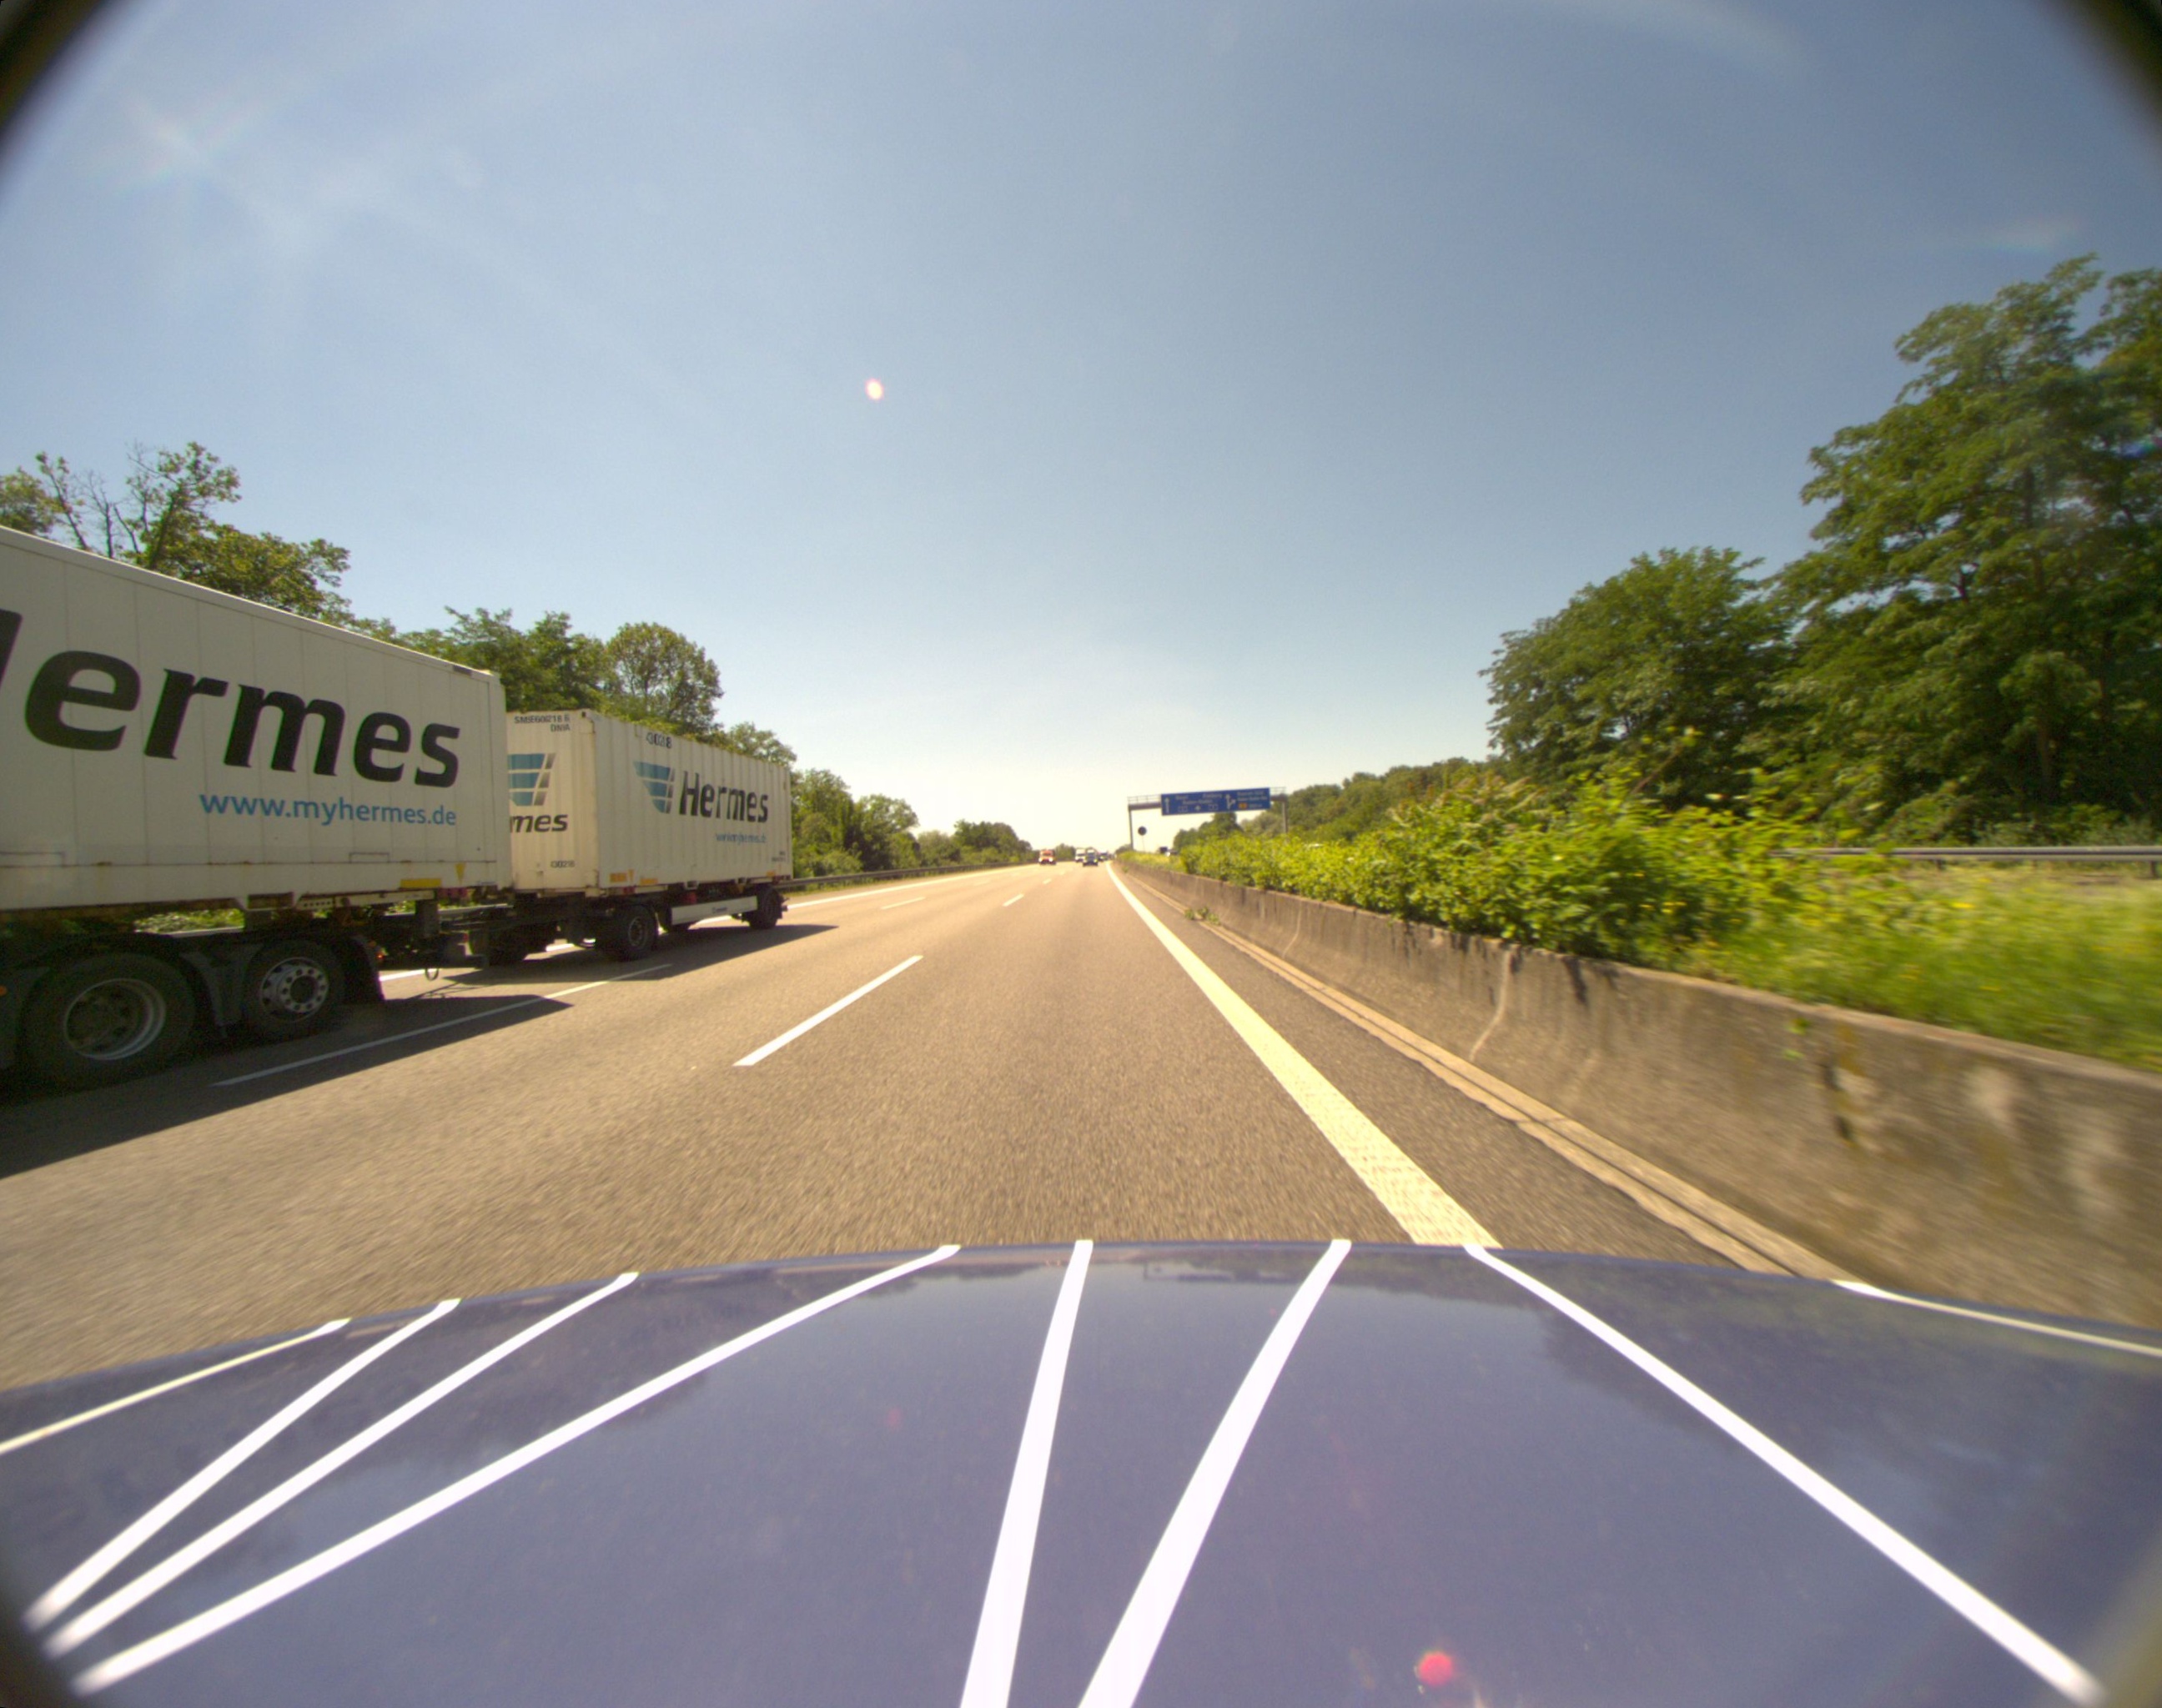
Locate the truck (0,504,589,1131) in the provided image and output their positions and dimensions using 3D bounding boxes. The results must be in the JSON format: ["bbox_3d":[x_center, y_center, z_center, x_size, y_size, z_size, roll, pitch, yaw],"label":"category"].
[{"bbox_3d":[-8.334,-0.215,5.308,2.533,4.106,10.668,-2,0,1],"label":"truck"}]

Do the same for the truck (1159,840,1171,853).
[{"bbox_3d":[28.873,-2.411,261.868,3.185,4.206,14.498,-2,0,3],"label":"truck"}]

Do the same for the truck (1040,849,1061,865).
[{"bbox_3d":[-4.940,0.437,125.300,2.436,2.426,10.010,-2,0,3],"label":"truck"}]

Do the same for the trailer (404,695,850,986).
[{"bbox_3d":[-8.159,-0.225,16.421,2.561,4.036,11.262,-2,0,1],"label":"trailer"}]

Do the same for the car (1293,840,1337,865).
[{"bbox_3d":[17.196,-0.119,56.027,1.818,1.676,4.761,-2,0,1],"label":"car"}]

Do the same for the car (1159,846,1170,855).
[{"bbox_3d":[15.932,-0.706,145.004,1.639,1.565,4.000,-2,0,1],"label":"car"}]

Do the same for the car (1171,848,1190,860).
[{"bbox_3d":[11.330,-0.016,87.093,1.702,1.374,3.643,-2,0,1],"label":"car"}]

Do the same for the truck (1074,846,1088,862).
[{"bbox_3d":[-0.017,0.051,160.302,2.859,3.163,10.711,-2,0,0],"label":"truck"}]

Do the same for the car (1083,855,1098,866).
[{"bbox_3d":[1.197,0.812,96.325,1.800,1.390,4.833,-2,0,1],"label":"car"}]

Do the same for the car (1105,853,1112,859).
[{"bbox_3d":[7.700,0.528,216.492,1.879,1.630,4.000,-2,0,1],"label":"car"}]
